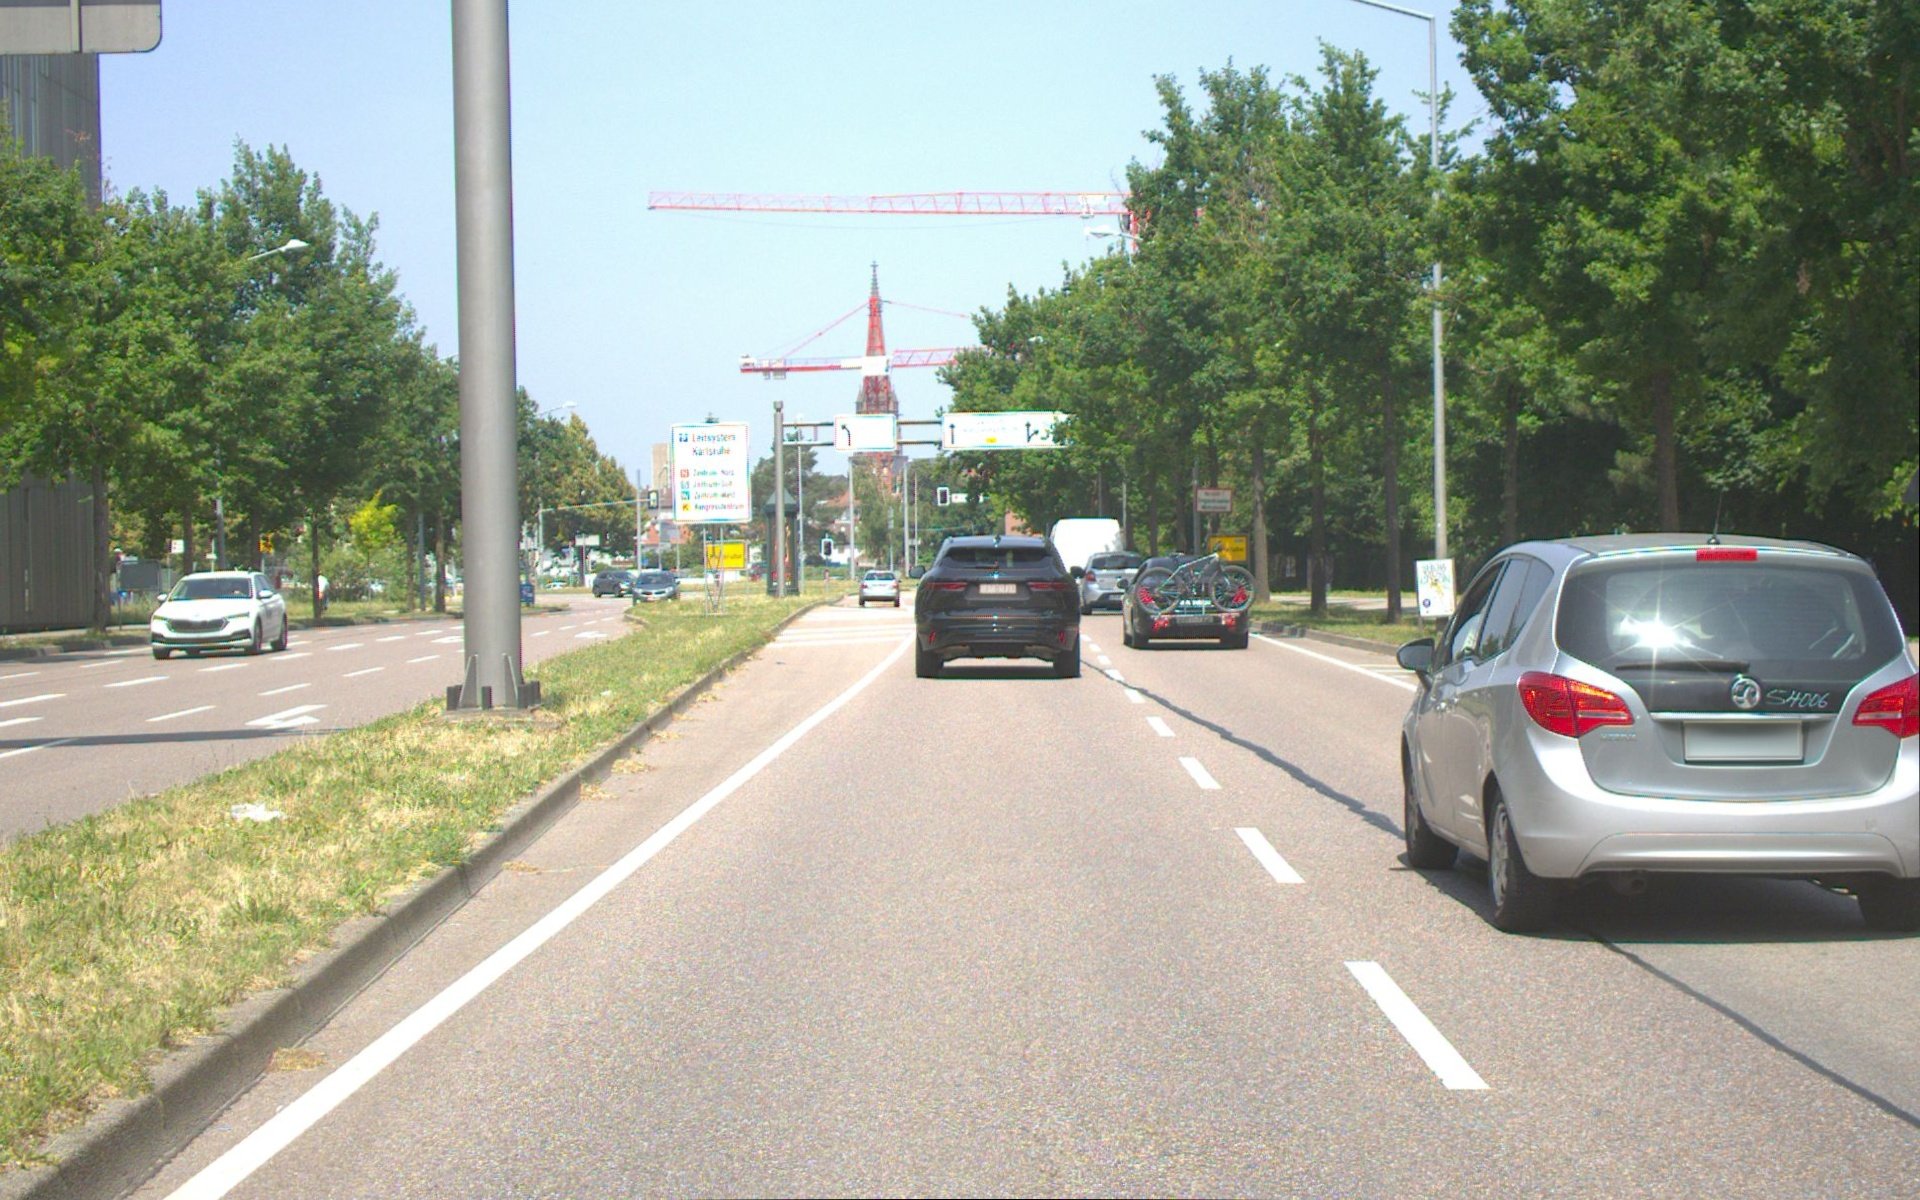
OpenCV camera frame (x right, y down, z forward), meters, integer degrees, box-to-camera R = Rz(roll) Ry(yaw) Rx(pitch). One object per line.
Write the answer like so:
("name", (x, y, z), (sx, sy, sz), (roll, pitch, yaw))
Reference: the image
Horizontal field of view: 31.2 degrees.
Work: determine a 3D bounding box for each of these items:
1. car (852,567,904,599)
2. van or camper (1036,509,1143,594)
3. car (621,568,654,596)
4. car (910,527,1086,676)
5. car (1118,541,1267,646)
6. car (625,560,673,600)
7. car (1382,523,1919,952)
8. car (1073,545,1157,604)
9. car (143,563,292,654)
("car", (-3.560, -0.731, 148.709), (1.993, 1.316, 4.001), (-1, 1, -5))
("van or camper", (3.574, -1.339, 95.888), (2.493, 2.283, 4.921), (-1, 0, -3))
("car", (-19.784, -1.122, 210.982), (1.892, 1.605, 4.535), (-1, 1, -3))
("car", (0.438, -0.017, 40.997), (1.998, 1.684, 4.034), (0, 1, 0))
("car", (3.517, -0.116, 52.754), (2.014, 1.512, 4.461), (-1, 0, 1))
("car", (-12.115, -0.779, 134.075), (1.707, 1.467, 3.942), (-2, 1, -3))
("car", (2.946, 0.485, 14.846), (1.792, 1.606, 3.891), (0, 1, 0))
("car", (3.735, -0.620, 83.388), (1.654, 1.351, 4.461), (-1, 0, -2))
("car", (-12.850, 0.115, 59.701), (1.810, 1.422, 4.359), (-2, 1, -3))
